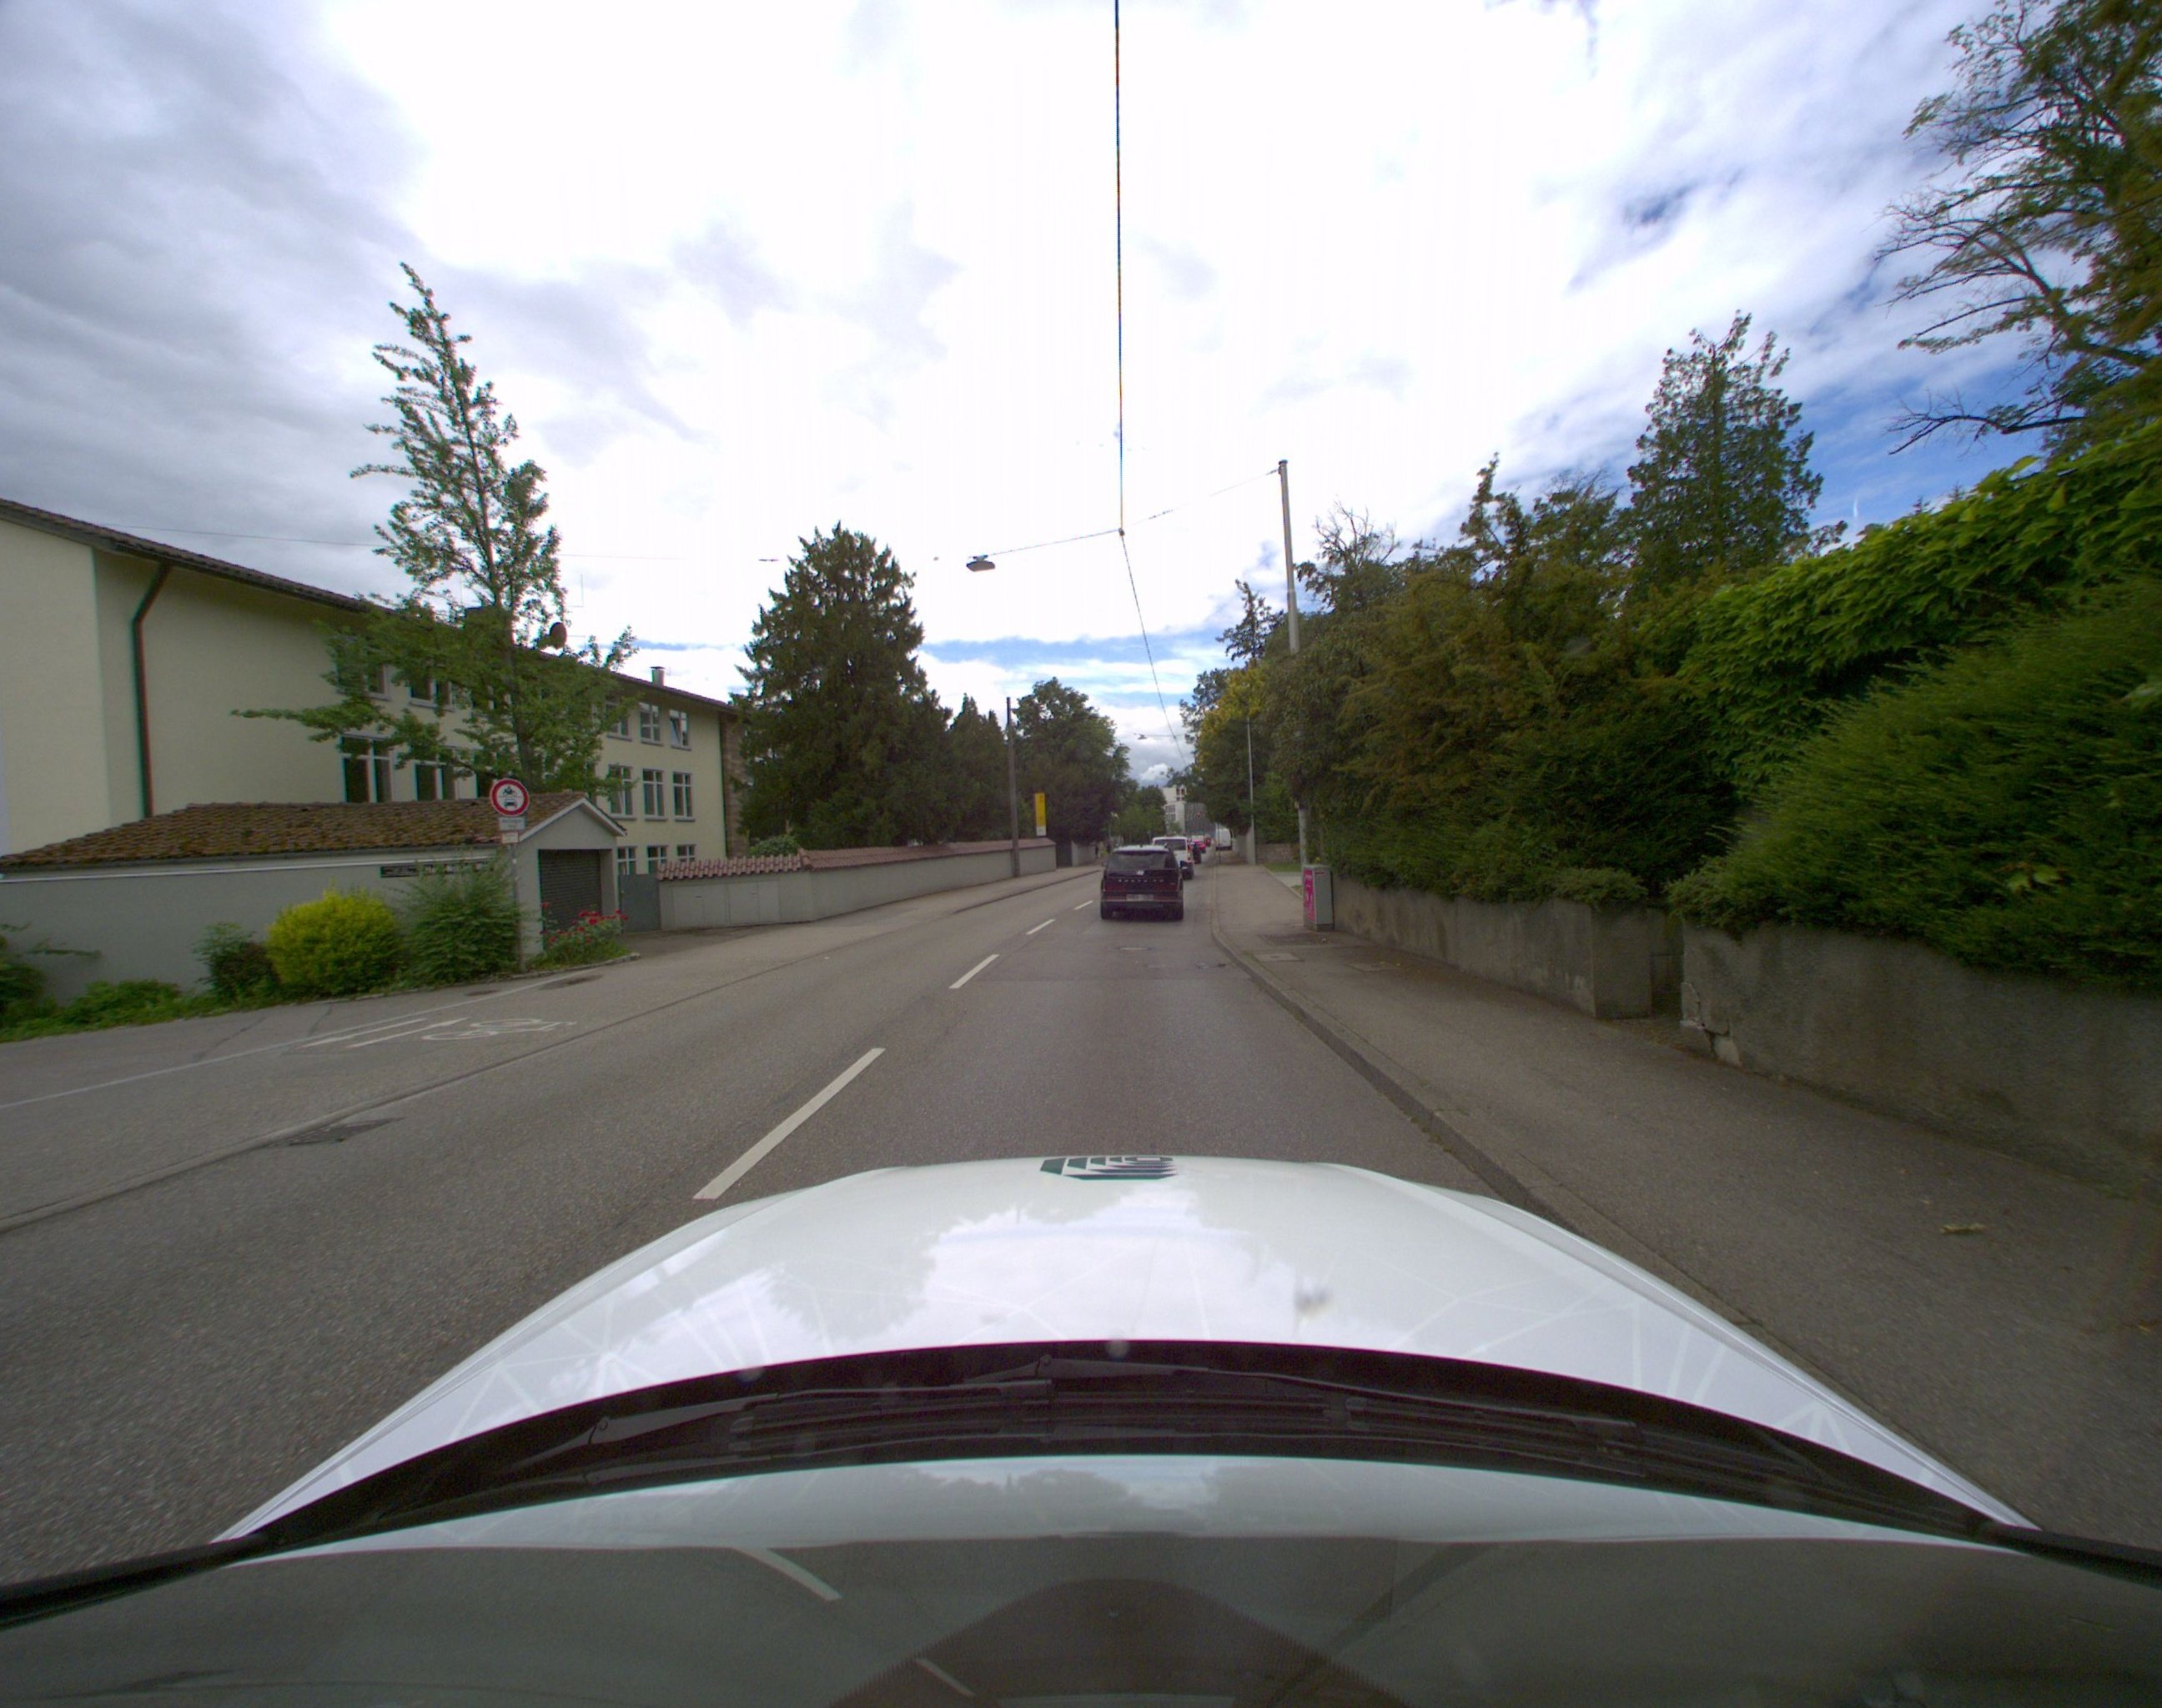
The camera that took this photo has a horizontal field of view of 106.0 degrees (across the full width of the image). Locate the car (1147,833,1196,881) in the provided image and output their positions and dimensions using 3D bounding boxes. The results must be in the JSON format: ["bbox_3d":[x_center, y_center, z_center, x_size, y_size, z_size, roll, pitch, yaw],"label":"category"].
[{"bbox_3d":[4.149,0.112,36.905,1.952,2.001,4.010,-3,0,9],"label":"car"}]

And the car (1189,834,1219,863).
[{"bbox_3d":[8.781,-0.364,58.266,1.952,1.902,4.010,-3,0,9],"label":"car"}]

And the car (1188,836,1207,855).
[{"bbox_3d":[13.281,-0.972,92.558,1.952,2.001,4.010,-3,0,9],"label":"car"}]

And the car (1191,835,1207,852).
[{"bbox_3d":[15.261,-1.316,105.301,1.952,2.001,4.010,-3,0,9],"label":"car"}]

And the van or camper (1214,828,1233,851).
[{"bbox_3d":[17.647,-1.785,101.015,1.952,2.627,6.375,-4,1,9],"label":"van or camper"}]

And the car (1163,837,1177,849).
[{"bbox_3d":[11.506,-1.439,105.141,1.776,1.428,4.008,-3,1,7],"label":"car"}]

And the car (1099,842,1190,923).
[{"bbox_3d":[1.499,0.594,19.713,1.955,1.711,4.004,-1,1,3],"label":"car"}]

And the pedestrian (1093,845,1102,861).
[{"bbox_3d":[1.696,-0.105,83.527,0.921,1.560,0.904,1,0,5],"label":"pedestrian"}]

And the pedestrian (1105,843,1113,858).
[{"bbox_3d":[3.030,-0.364,88.910,0.744,1.577,0.969,-1,1,9],"label":"pedestrian"}]
